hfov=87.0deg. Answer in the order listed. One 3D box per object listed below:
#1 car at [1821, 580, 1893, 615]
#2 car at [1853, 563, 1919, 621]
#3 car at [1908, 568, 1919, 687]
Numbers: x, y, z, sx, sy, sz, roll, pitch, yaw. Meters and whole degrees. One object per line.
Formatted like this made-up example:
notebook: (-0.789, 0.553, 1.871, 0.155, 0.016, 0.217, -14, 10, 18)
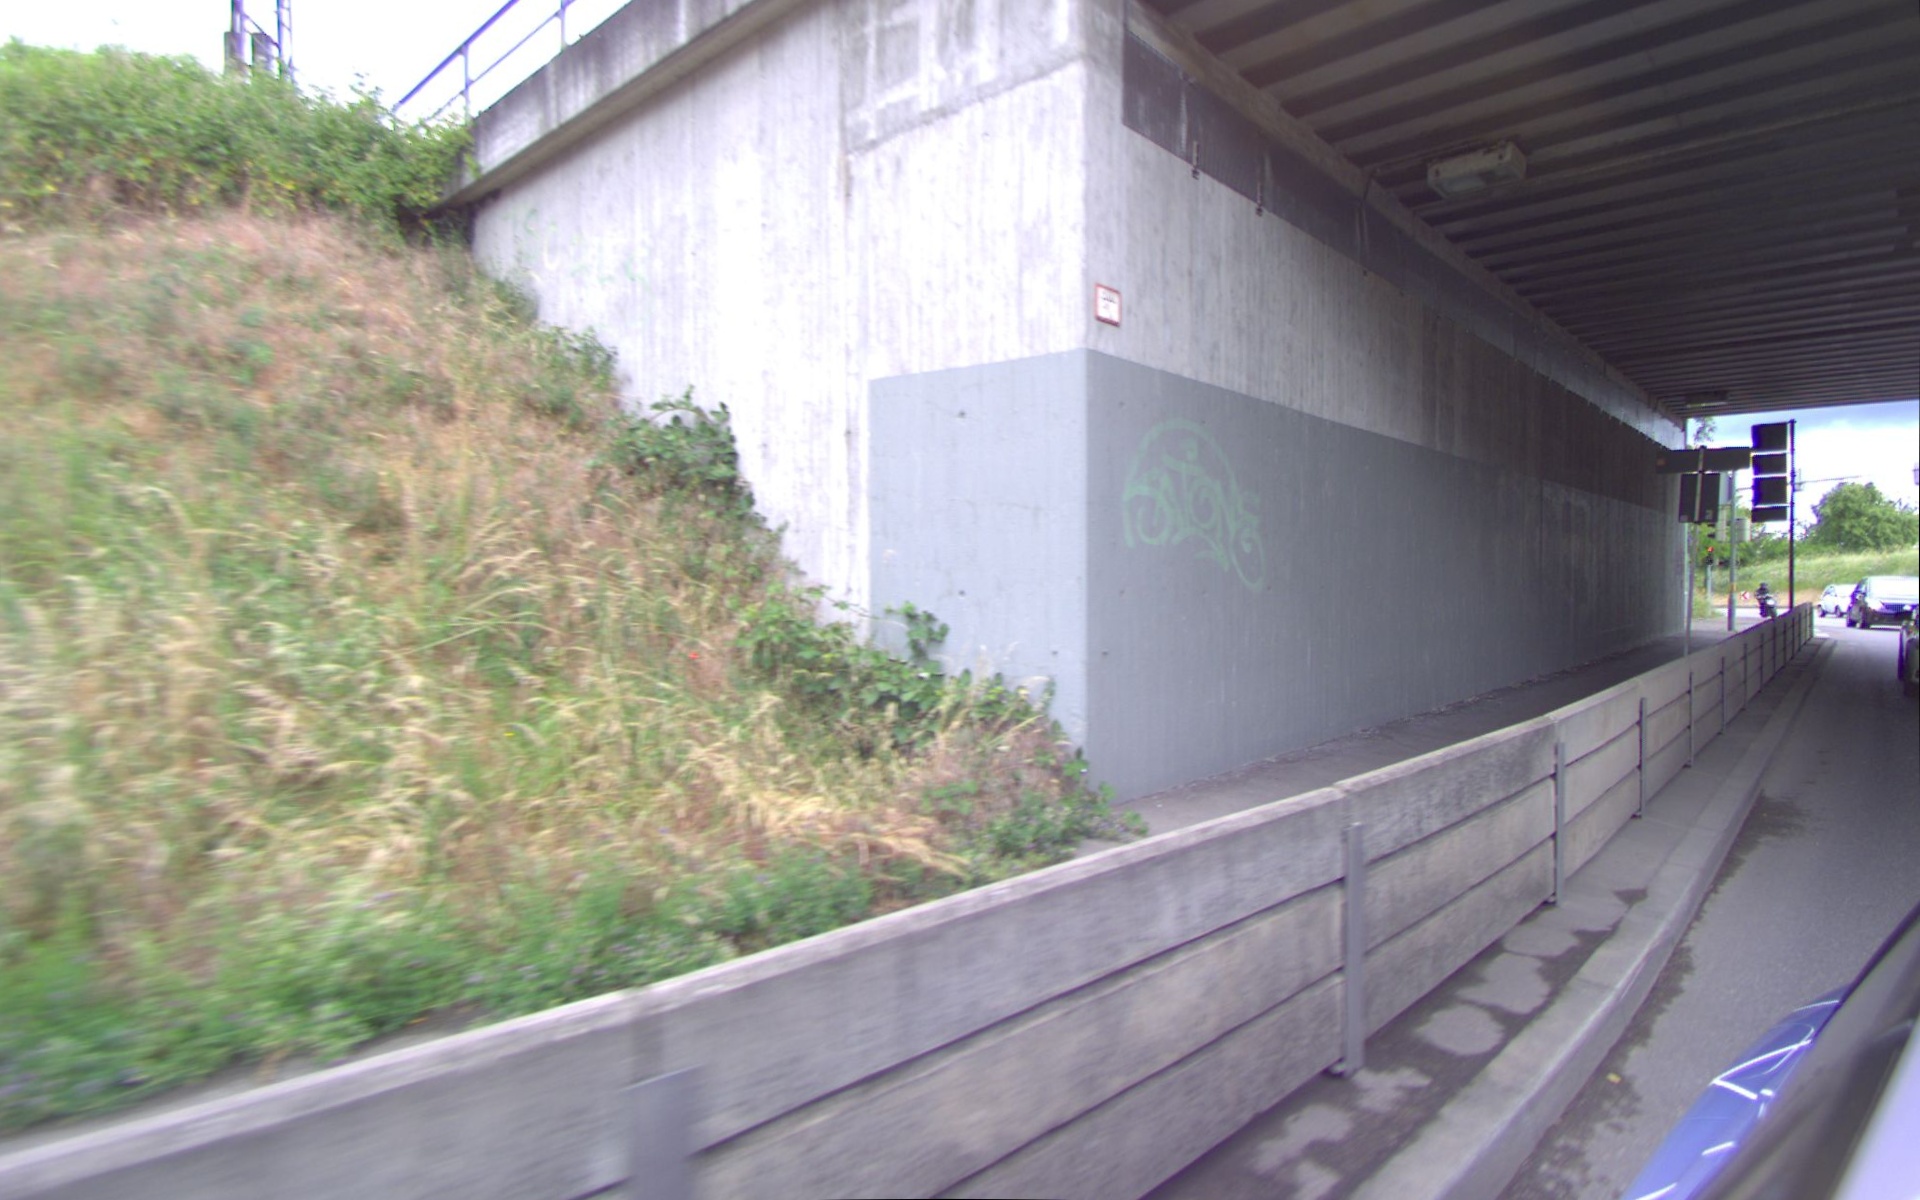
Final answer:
car: (41.895, -0.110, 47.324, 1.562, 1.577, 2.994, 0, 0, 22)
car: (27.179, -0.226, 29.029, 1.811, 1.564, 3.681, 0, 0, 34)
car: (13.745, 0.310, 13.081, 3.933, 1.440, 1.885, -2, 3, -43)
